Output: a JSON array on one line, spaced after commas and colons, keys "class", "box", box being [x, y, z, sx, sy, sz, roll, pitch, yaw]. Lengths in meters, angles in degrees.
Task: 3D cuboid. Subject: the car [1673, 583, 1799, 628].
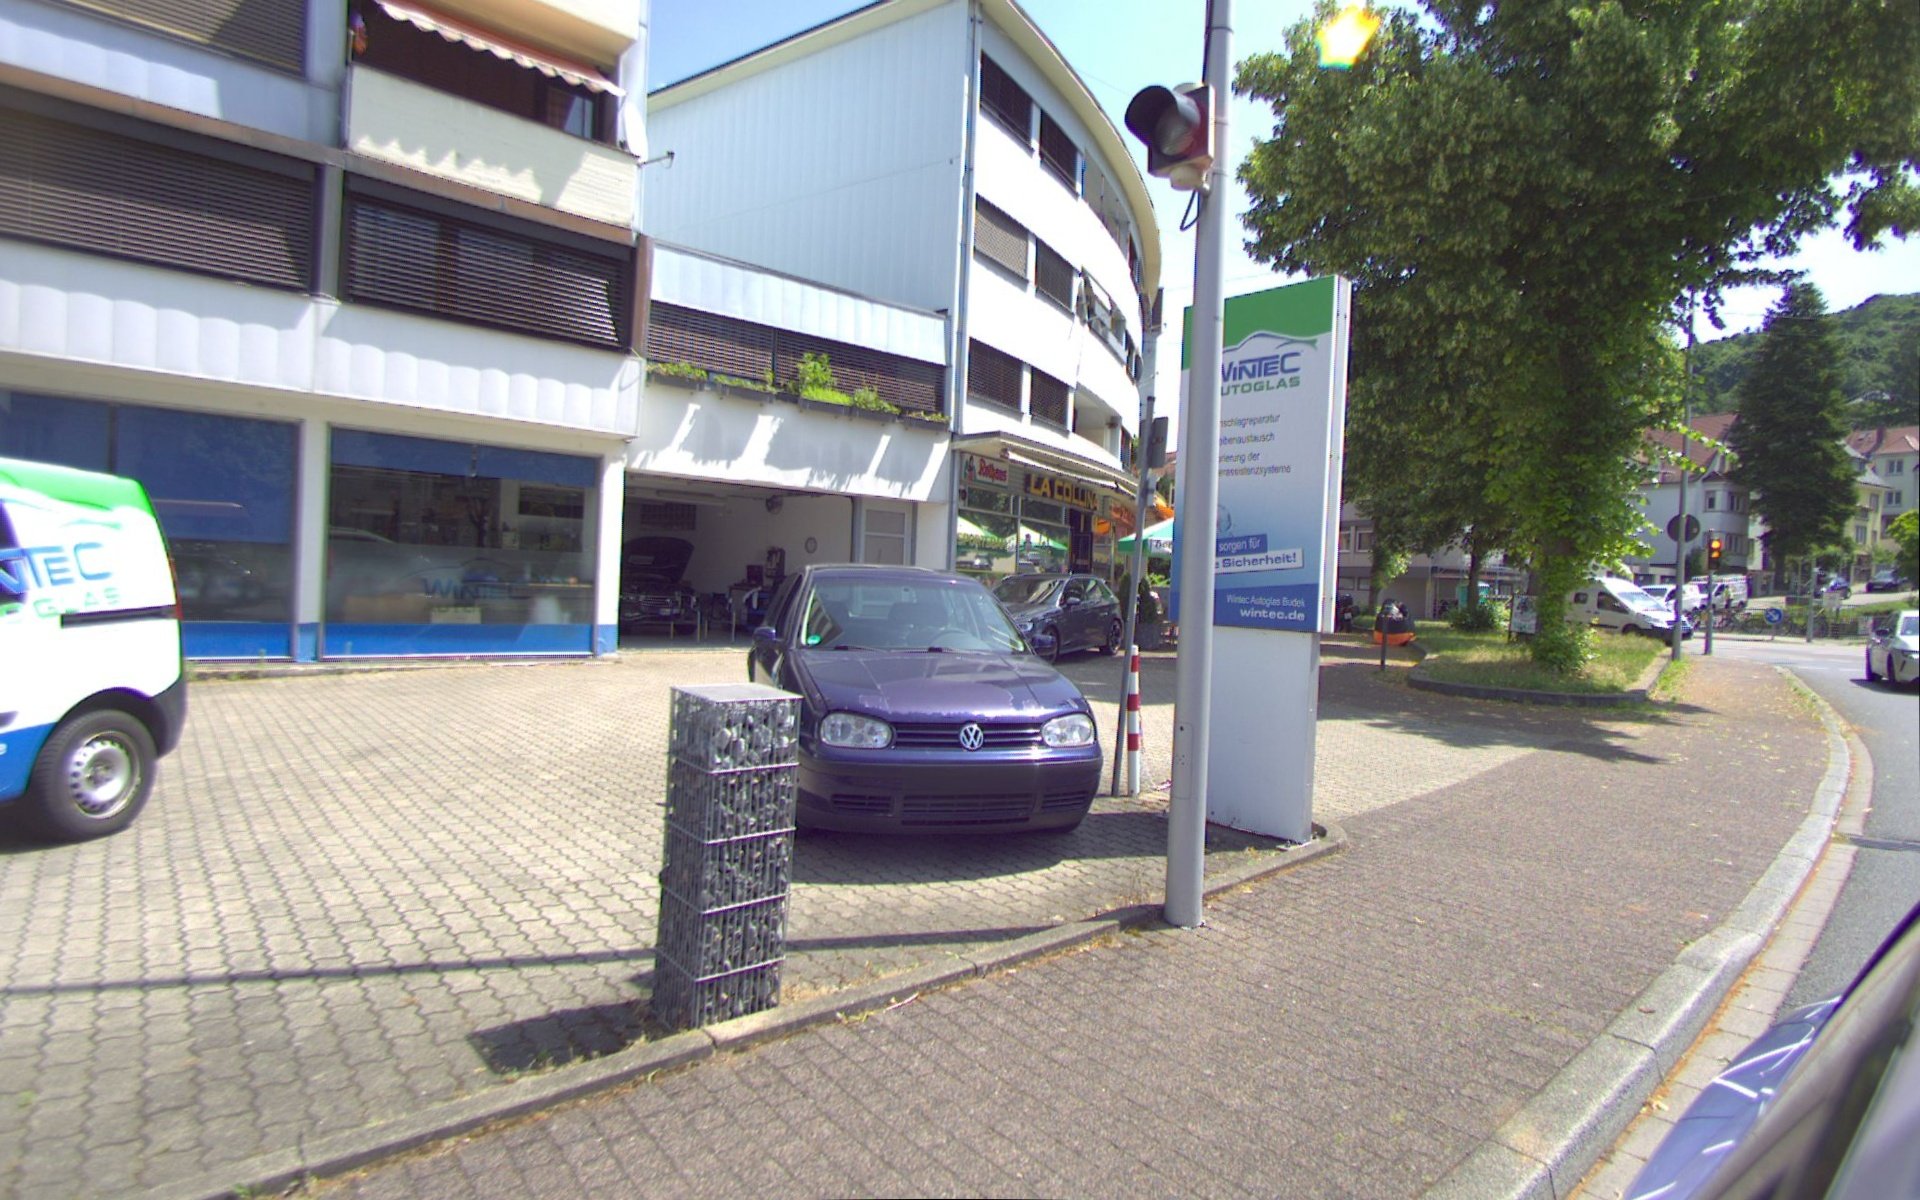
[{"class": "car", "box": [36.900, 0.213, 48.083, 6.244, 2.039, 2.405, 0, 0, -28]}]

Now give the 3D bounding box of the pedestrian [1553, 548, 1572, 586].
[{"class": "pedestrian", "box": [32.724, -1.795, 55.006, 0.691, 2.039, 0.626, 0, 0, -31]}]

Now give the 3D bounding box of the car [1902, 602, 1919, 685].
[{"class": "car", "box": [18.337, 0.764, 18.332, 1.814, 1.396, 4.322, 2, 1, 44]}]

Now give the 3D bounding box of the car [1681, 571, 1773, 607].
[{"class": "car", "box": [45.558, -0.638, 60.126, 5.272, 2.039, 2.405, 0, 0, -28]}]

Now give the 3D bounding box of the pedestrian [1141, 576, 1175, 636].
[{"class": "pedestrian", "box": [4.331, 0.124, 22.159, 0.564, 1.286, 0.607, 0, 0, -6]}]

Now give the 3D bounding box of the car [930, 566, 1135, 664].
[{"class": "car", "box": [1.348, 0.180, 16.914, 1.700, 1.417, 4.236, 1, 1, 31]}]

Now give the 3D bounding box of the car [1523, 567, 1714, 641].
[{"class": "car", "box": [22.226, 0.094, 34.496, 1.958, 2.300, 5.456, 0, 0, -17]}]

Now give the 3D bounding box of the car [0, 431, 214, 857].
[{"class": "car", "box": [-4.975, 0.197, 3.412, 1.788, 1.812, 4.290, 0, 0, 0]}]

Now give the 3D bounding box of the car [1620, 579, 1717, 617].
[{"class": "car", "box": [39.861, -0.145, 56.921, 5.272, 2.039, 2.405, 0, 0, -28]}]

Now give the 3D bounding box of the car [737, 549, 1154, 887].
[{"class": "car", "box": [-0.446, 0.439, 6.460, 1.664, 1.446, 3.983, 2, 2, -15]}]
